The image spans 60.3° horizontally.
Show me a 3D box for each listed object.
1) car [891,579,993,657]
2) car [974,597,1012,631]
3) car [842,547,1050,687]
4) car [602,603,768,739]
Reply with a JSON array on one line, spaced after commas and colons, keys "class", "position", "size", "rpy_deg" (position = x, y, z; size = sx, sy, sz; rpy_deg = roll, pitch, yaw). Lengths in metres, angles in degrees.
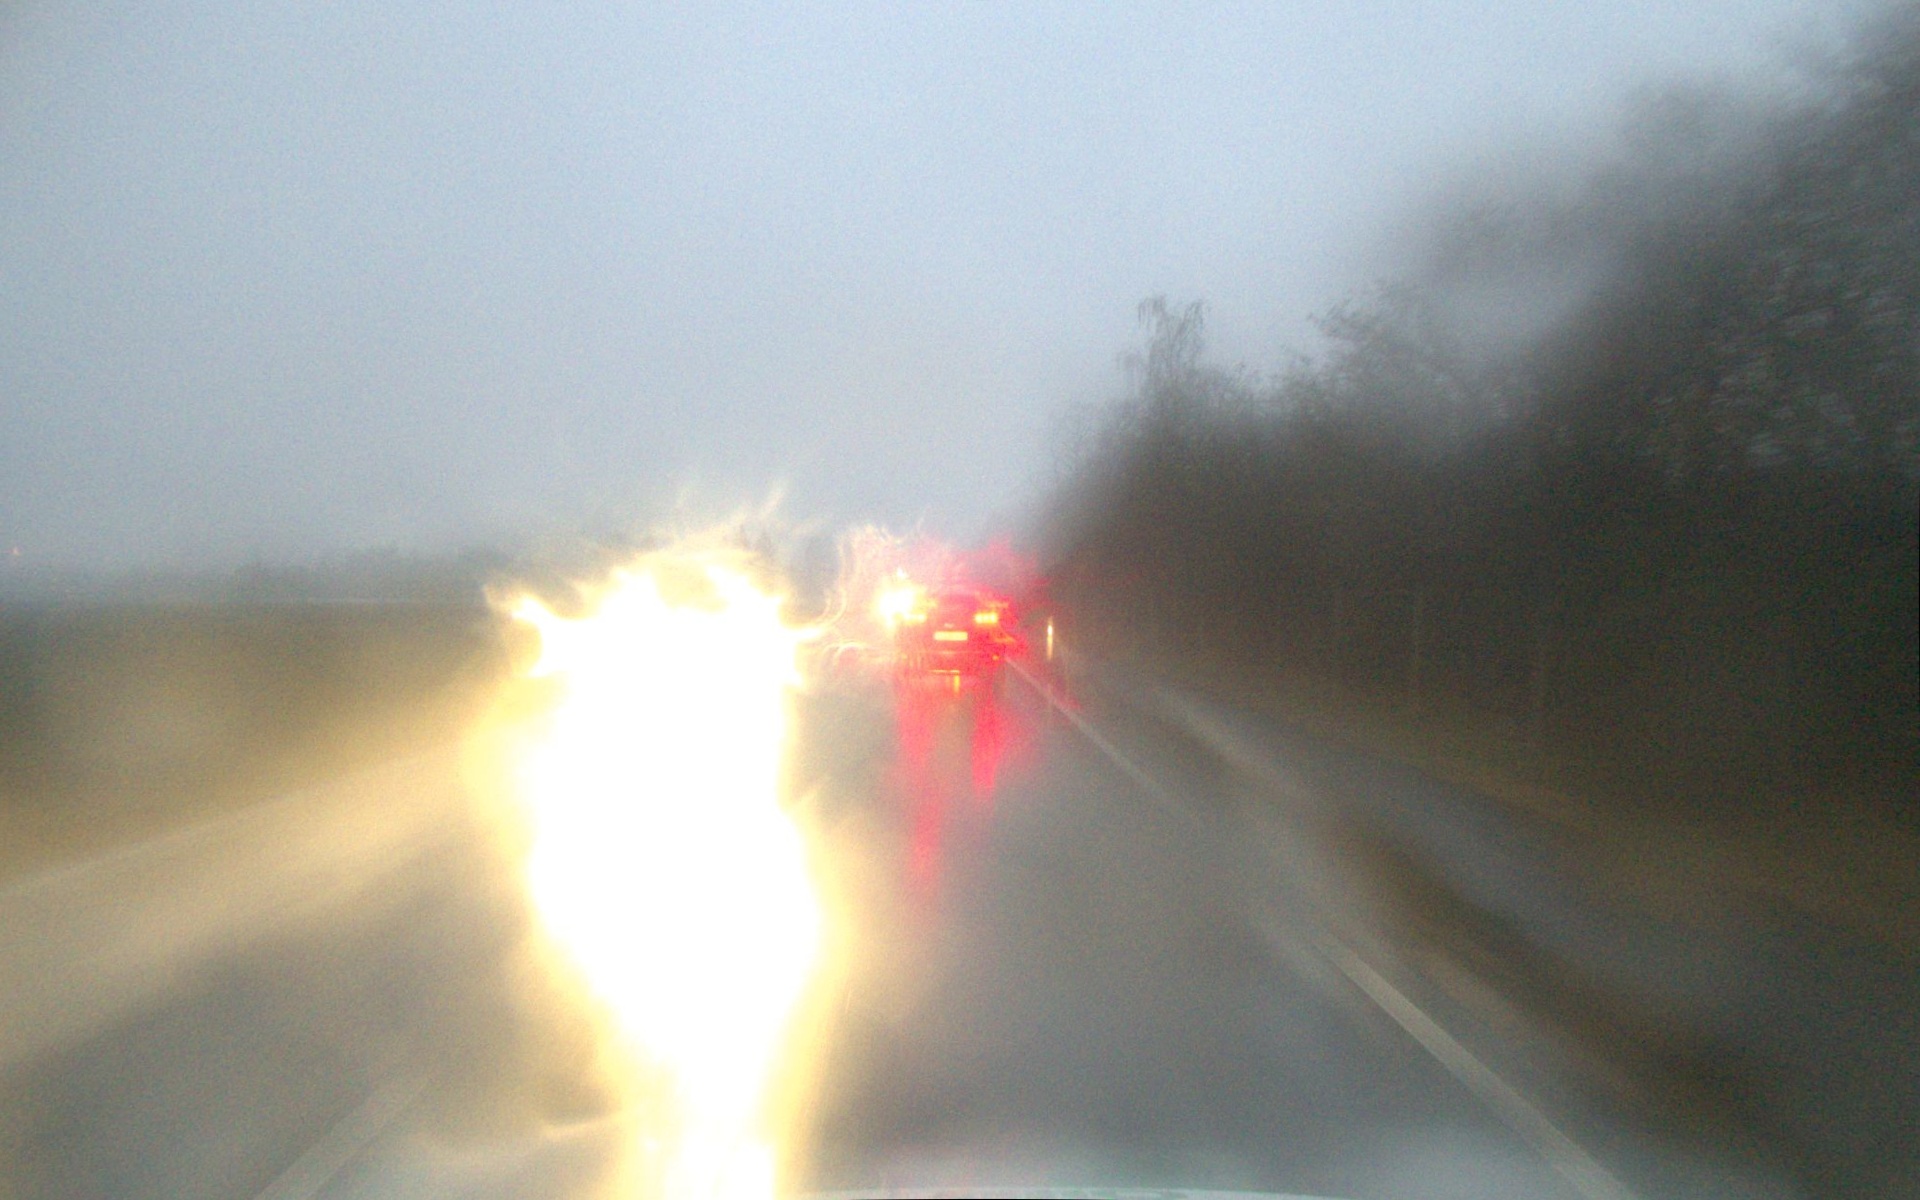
[{"class": "car", "position": [-0.543, 0.457, 47.474], "size": [2.700, 2.071, 6.589], "rpy_deg": [-1, 0, -1]}, {"class": "car", "position": [1.758, 0.732, 89.730], "size": [1.889, 1.780, 3.999], "rpy_deg": [1, 0, -1]}, {"class": "car", "position": [-0.264, 0.232, 28.207], "size": [3.100, 2.071, 6.850], "rpy_deg": [-1, 0, -1]}, {"class": "car", "position": [-3.884, 0.942, 24.014], "size": [1.694, 1.675, 4.260], "rpy_deg": [-3, 0, -1]}]
